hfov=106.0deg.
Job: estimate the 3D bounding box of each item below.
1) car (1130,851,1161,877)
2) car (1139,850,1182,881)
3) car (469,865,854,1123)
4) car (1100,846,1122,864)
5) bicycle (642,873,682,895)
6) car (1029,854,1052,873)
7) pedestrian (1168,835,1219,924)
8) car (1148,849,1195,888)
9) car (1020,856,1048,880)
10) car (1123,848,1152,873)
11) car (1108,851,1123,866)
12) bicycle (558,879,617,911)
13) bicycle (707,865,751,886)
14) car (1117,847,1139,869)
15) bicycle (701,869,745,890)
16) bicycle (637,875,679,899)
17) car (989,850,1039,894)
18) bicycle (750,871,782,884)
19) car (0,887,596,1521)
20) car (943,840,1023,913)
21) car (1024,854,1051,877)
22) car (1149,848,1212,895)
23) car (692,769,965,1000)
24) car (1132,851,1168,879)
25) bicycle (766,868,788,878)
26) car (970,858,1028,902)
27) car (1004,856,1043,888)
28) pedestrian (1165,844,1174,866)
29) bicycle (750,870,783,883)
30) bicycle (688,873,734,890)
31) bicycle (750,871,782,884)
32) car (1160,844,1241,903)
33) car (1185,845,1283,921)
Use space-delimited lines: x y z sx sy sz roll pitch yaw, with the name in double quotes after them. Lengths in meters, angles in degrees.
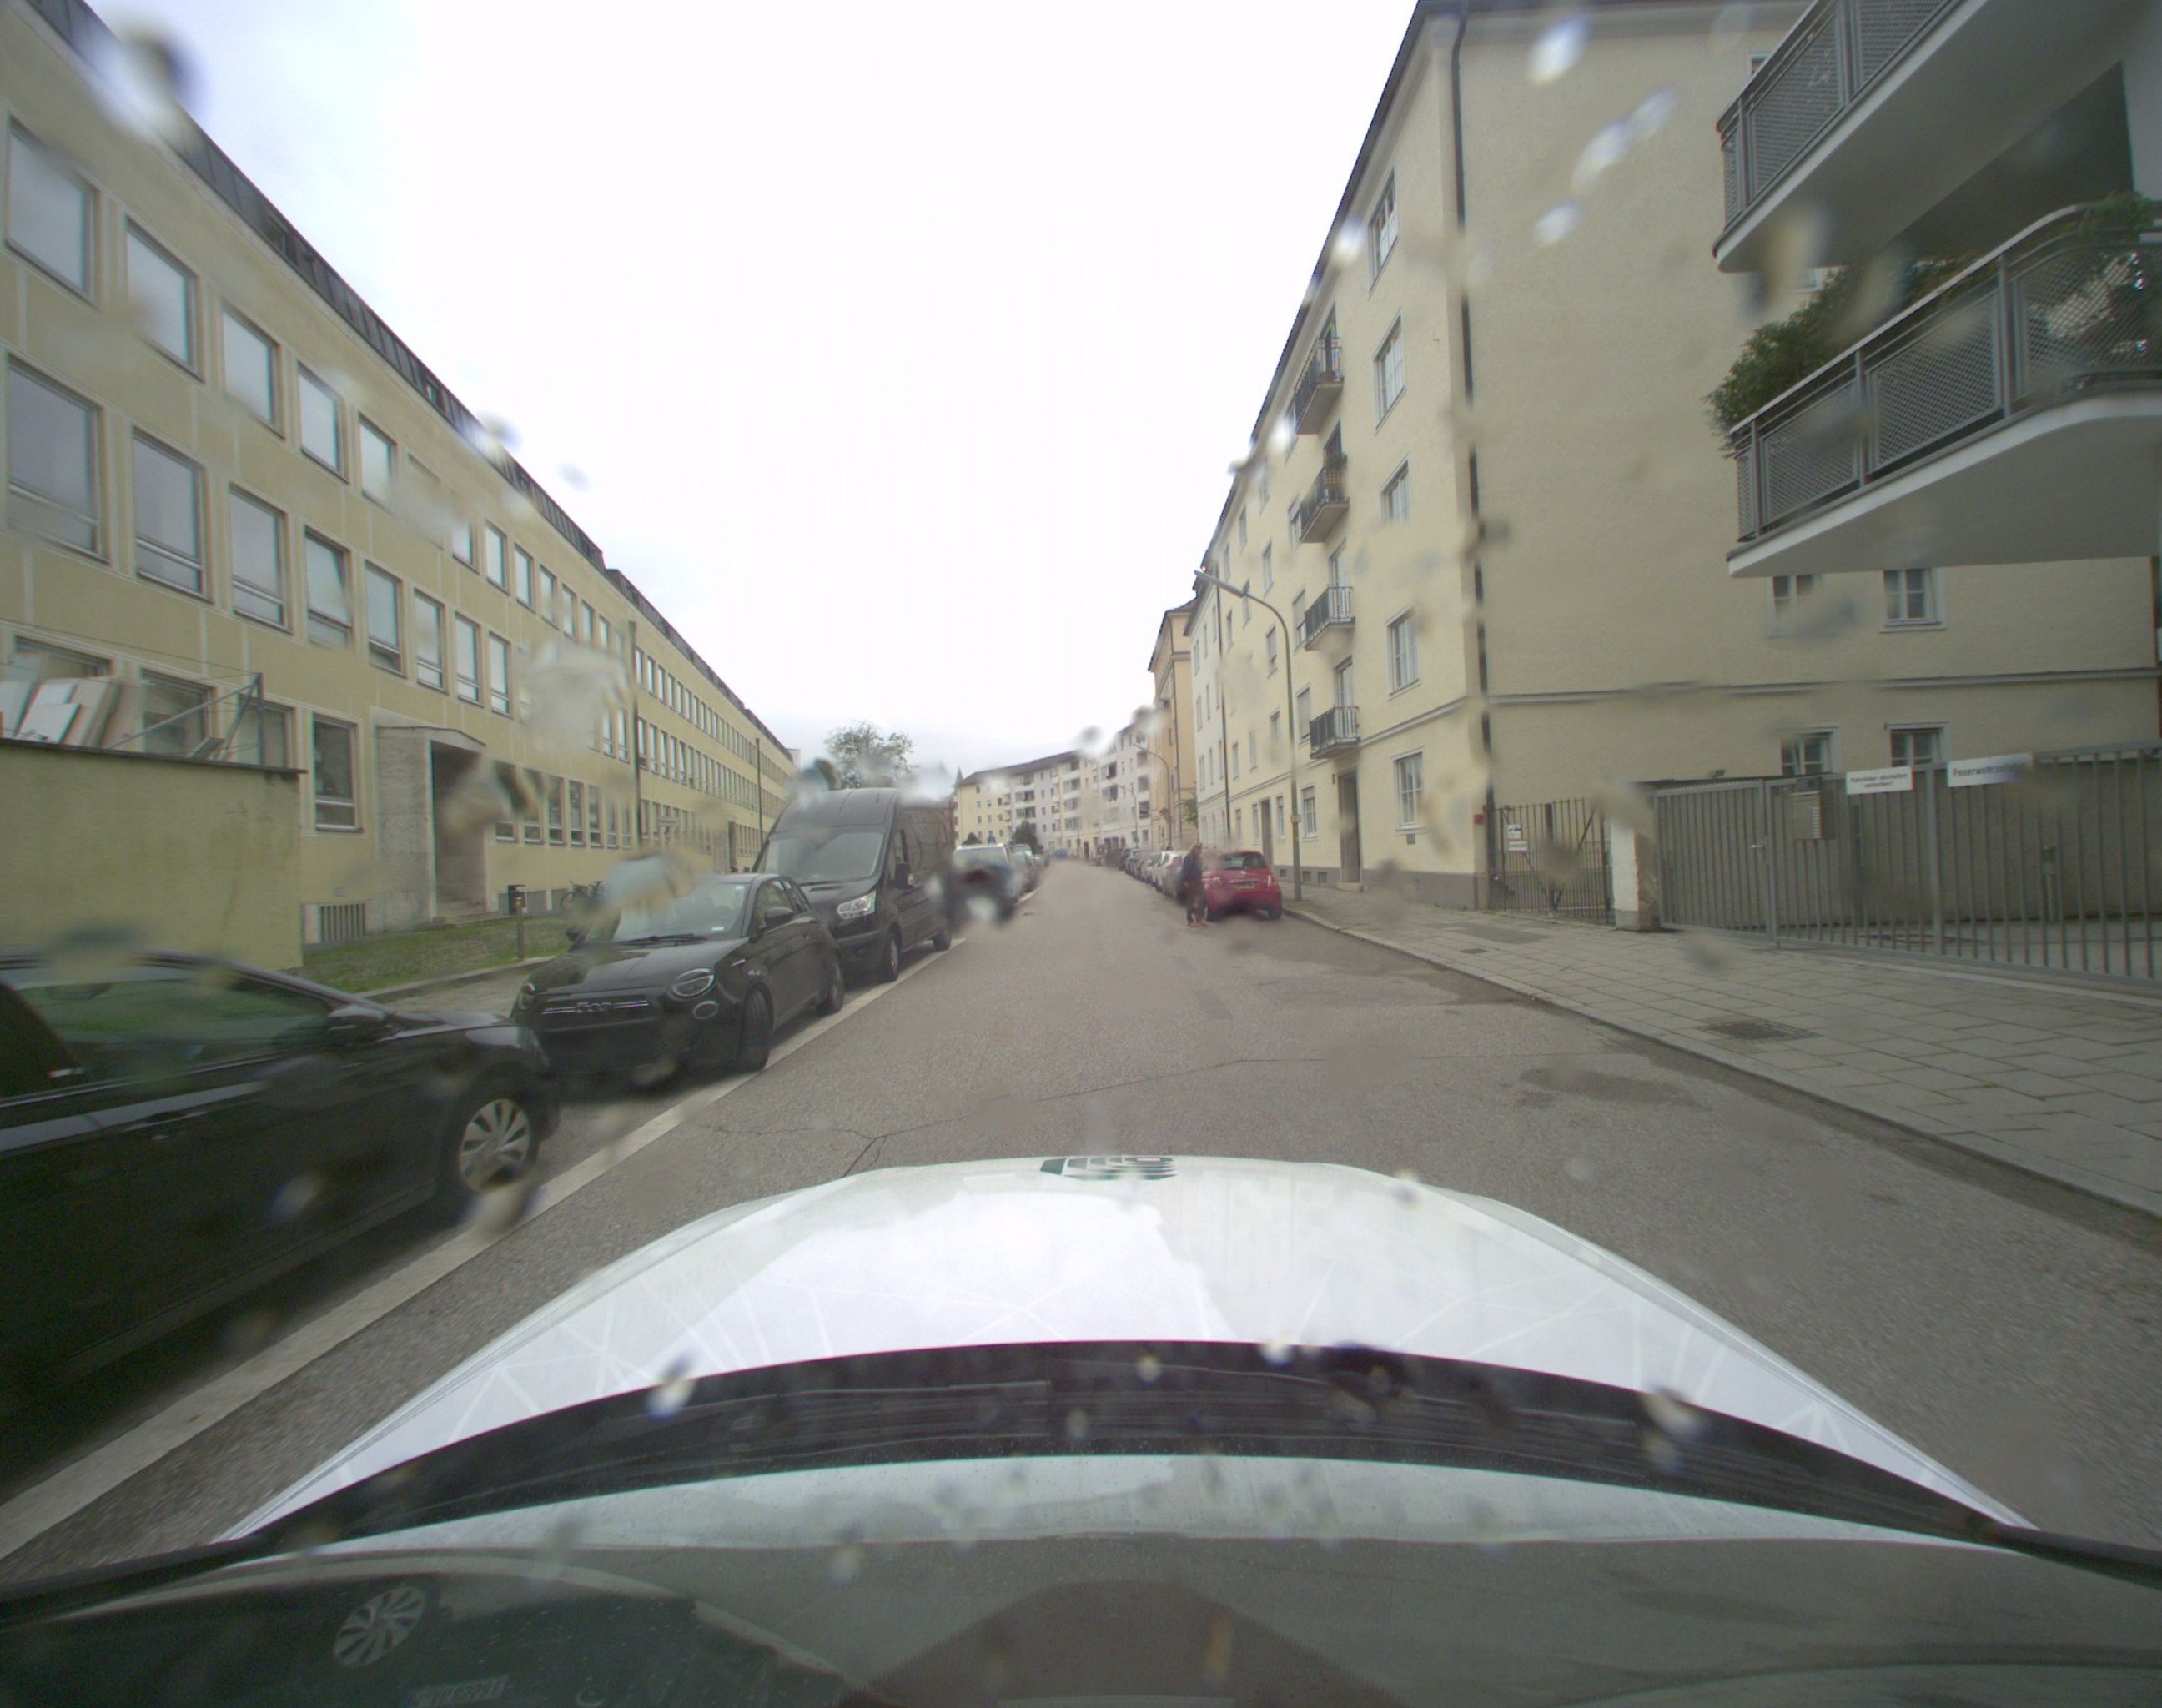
3.870 0.575 49.224 1.585 1.432 3.825 -1 0 0 "car"
3.806 0.551 39.429 1.687 1.432 3.944 -1 -1 0 "car"
-3.215 0.928 7.080 1.582 1.538 3.539 -4 -1 -4 "car"
2.942 0.114 80.407 1.601 1.715 3.080 -1 0 -9 "car"
-18.650 1.331 36.289 1.530 0.955 0.364 -2 0 -16 "bicycle"
-3.293 0.775 66.615 1.619 1.419 3.646 -3 0 -1 "car"
2.250 0.511 16.289 0.795 1.728 0.670 -1 -2 -13 "pedestrian"
3.764 0.575 34.360 1.593 1.491 3.800 -2 0 1 "car"
-2.958 0.874 52.188 1.619 1.419 3.978 -3 0 -2 "car"
3.725 0.398 53.971 1.585 1.582 4.298 -1 0 0 "car"
3.182 0.431 75.927 1.268 1.299 2.797 -2 0 0 "car"
-15.569 1.289 25.701 1.530 0.955 0.364 -2 0 -16 "bicycle"
-21.032 1.259 48.747 2.250 1.168 1.042 -2 0 -15 "bicycle"
3.656 0.308 63.592 1.469 1.641 4.000 -1 0 0 "car"
-20.306 1.444 46.220 2.211 1.037 0.492 -2 -1 -18 "bicycle"
-18.135 1.392 34.940 1.530 0.955 0.364 -2 0 -16 "bicycle"
-2.866 0.713 35.480 1.696 1.691 4.027 -4 0 0 "car"
-23.048 1.745 59.641 2.124 0.835 0.643 -2 -1 -18 "bicycle"
-3.556 0.949 2.628 1.696 1.445 3.823 -2 1 -1 "car"
-2.930 0.629 25.267 1.877 1.931 4.598 -4 0 -1 "car"
-3.010 0.774 57.060 1.619 1.419 3.979 -3 0 -1 "car"
3.535 0.588 29.549 1.687 1.491 4.282 -3 0 0 "car"
-3.348 0.340 12.243 2.079 2.636 5.381 -2 0 3 "car"
3.729 0.584 44.488 1.585 1.432 4.420 -1 0 0 "car"
-26.025 1.633 69.744 1.742 0.714 0.611 -2 -1 -18 "bicycle"
-2.966 0.904 29.985 1.647 1.373 3.652 -4 0 0 "car"
-2.851 0.847 40.990 1.618 1.412 3.798 -4 0 0 "car"
6.847 0.063 62.890 0.664 1.692 0.690 0 -1 1 "pedestrian"
-22.736 1.598 58.933 2.211 0.835 0.492 -2 -1 -18 "bicycle"
-20.019 1.475 44.121 2.211 0.835 0.492 -2 -1 -18 "bicycle"
-24.012 1.780 62.157 2.211 0.896 0.643 -2 -1 -18 "bicycle"
3.382 0.541 23.789 1.687 1.491 4.342 -3 -1 0 "car"
3.405 0.603 18.731 1.589 1.509 3.802 -2 0 1 "car"
